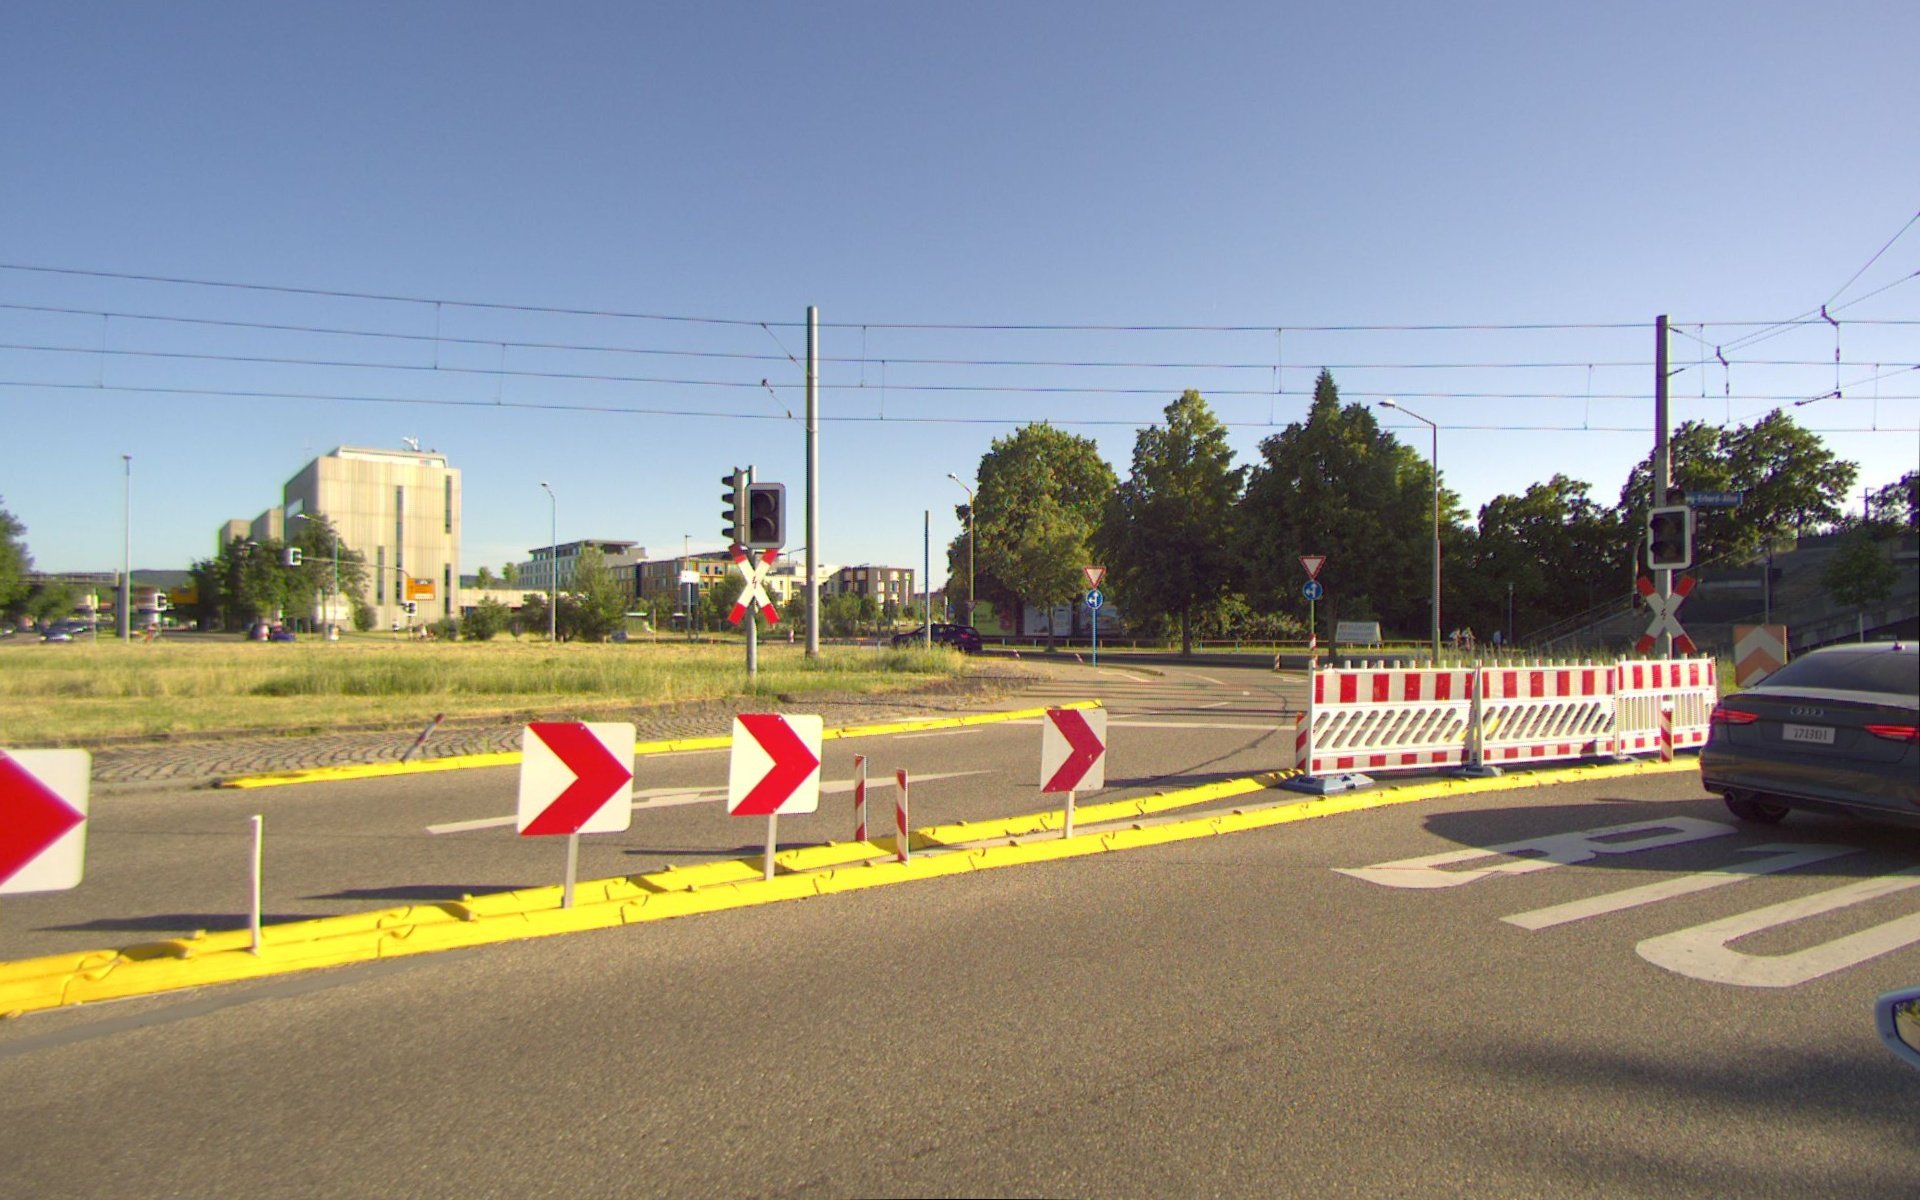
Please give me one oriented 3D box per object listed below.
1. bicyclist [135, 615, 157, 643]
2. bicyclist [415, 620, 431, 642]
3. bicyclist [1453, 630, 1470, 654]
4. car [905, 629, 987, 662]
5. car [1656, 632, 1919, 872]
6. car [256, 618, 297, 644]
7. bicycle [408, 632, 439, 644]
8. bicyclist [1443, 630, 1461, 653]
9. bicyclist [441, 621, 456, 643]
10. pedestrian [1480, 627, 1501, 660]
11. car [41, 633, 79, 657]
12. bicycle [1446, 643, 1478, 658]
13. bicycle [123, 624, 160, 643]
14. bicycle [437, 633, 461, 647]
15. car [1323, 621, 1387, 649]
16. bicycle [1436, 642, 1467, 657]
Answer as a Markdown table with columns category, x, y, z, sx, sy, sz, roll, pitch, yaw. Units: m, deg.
| category | x | y | z | sx | sy | sz | roll | pitch | yaw |
| --- | --- | --- | --- | --- | --- | --- | --- | --- | --- |
| bicyclist | -49.041 | 1.731 | 60.501 | 0.694 | 1.685 | 0.938 | 0 | 0 | 41 |
| bicyclist | -37.574 | 2.180 | 70.315 | 0.916 | 1.537 | 0.611 | 1 | -2 | -34 |
| bicyclist | 30.513 | 2.541 | 61.078 | 0.708 | 1.411 | 0.614 | 1 | -1 | -20 |
| car | -0.752 | 2.246 | 50.338 | 1.723 | 1.507 | 4.439 | 1 | -1 | -39 |
| car | 7.453 | 0.991 | 7.402 | 4.295 | 1.398 | 1.757 | 2 | -1 | -22 |
| car | -47.458 | 2.131 | 69.749 | 1.763 | 1.808 | 3.867 | 1 | -1 | -44 |
| bicycle | -37.534 | 2.651 | 70.339 | 1.869 | 0.864 | 0.611 | 1 | -2 | -34 |
| bicyclist | 30.300 | 2.532 | 61.860 | 0.824 | 1.411 | 0.614 | 1 | -1 | -20 |
| bicyclist | -38.144 | 2.403 | 74.947 | 0.821 | 1.601 | 0.660 | -1 | -1 | 35 |
| pedestrian | 26.995 | 2.216 | 51.143 | 0.746 | 1.651 | 0.886 | 0 | -1 | 14 |
| car | -67.435 | 3.347 | 75.285 | 1.941 | 1.636 | 3.873 | 1 | -1 | -40 |
| bicycle | 30.495 | 3.054 | 61.039 | 1.860 | 0.864 | 0.614 | 1 | -1 | -20 |
| bicycle | -49.164 | 2.002 | 60.342 | 0.694 | 1.143 | 1.647 | 0 | 0 | 40 |
| bicycle | -38.158 | 2.995 | 74.966 | 2.225 | 1.001 | 0.660 | -1 | -1 | 36 |
| car | 27.038 | 2.365 | 68.794 | 1.821 | 1.829 | 3.705 | 1 | -2 | -36 |
| bicycle | 30.232 | 3.044 | 61.821 | 1.860 | 0.864 | 0.614 | 1 | -1 | -20 |
